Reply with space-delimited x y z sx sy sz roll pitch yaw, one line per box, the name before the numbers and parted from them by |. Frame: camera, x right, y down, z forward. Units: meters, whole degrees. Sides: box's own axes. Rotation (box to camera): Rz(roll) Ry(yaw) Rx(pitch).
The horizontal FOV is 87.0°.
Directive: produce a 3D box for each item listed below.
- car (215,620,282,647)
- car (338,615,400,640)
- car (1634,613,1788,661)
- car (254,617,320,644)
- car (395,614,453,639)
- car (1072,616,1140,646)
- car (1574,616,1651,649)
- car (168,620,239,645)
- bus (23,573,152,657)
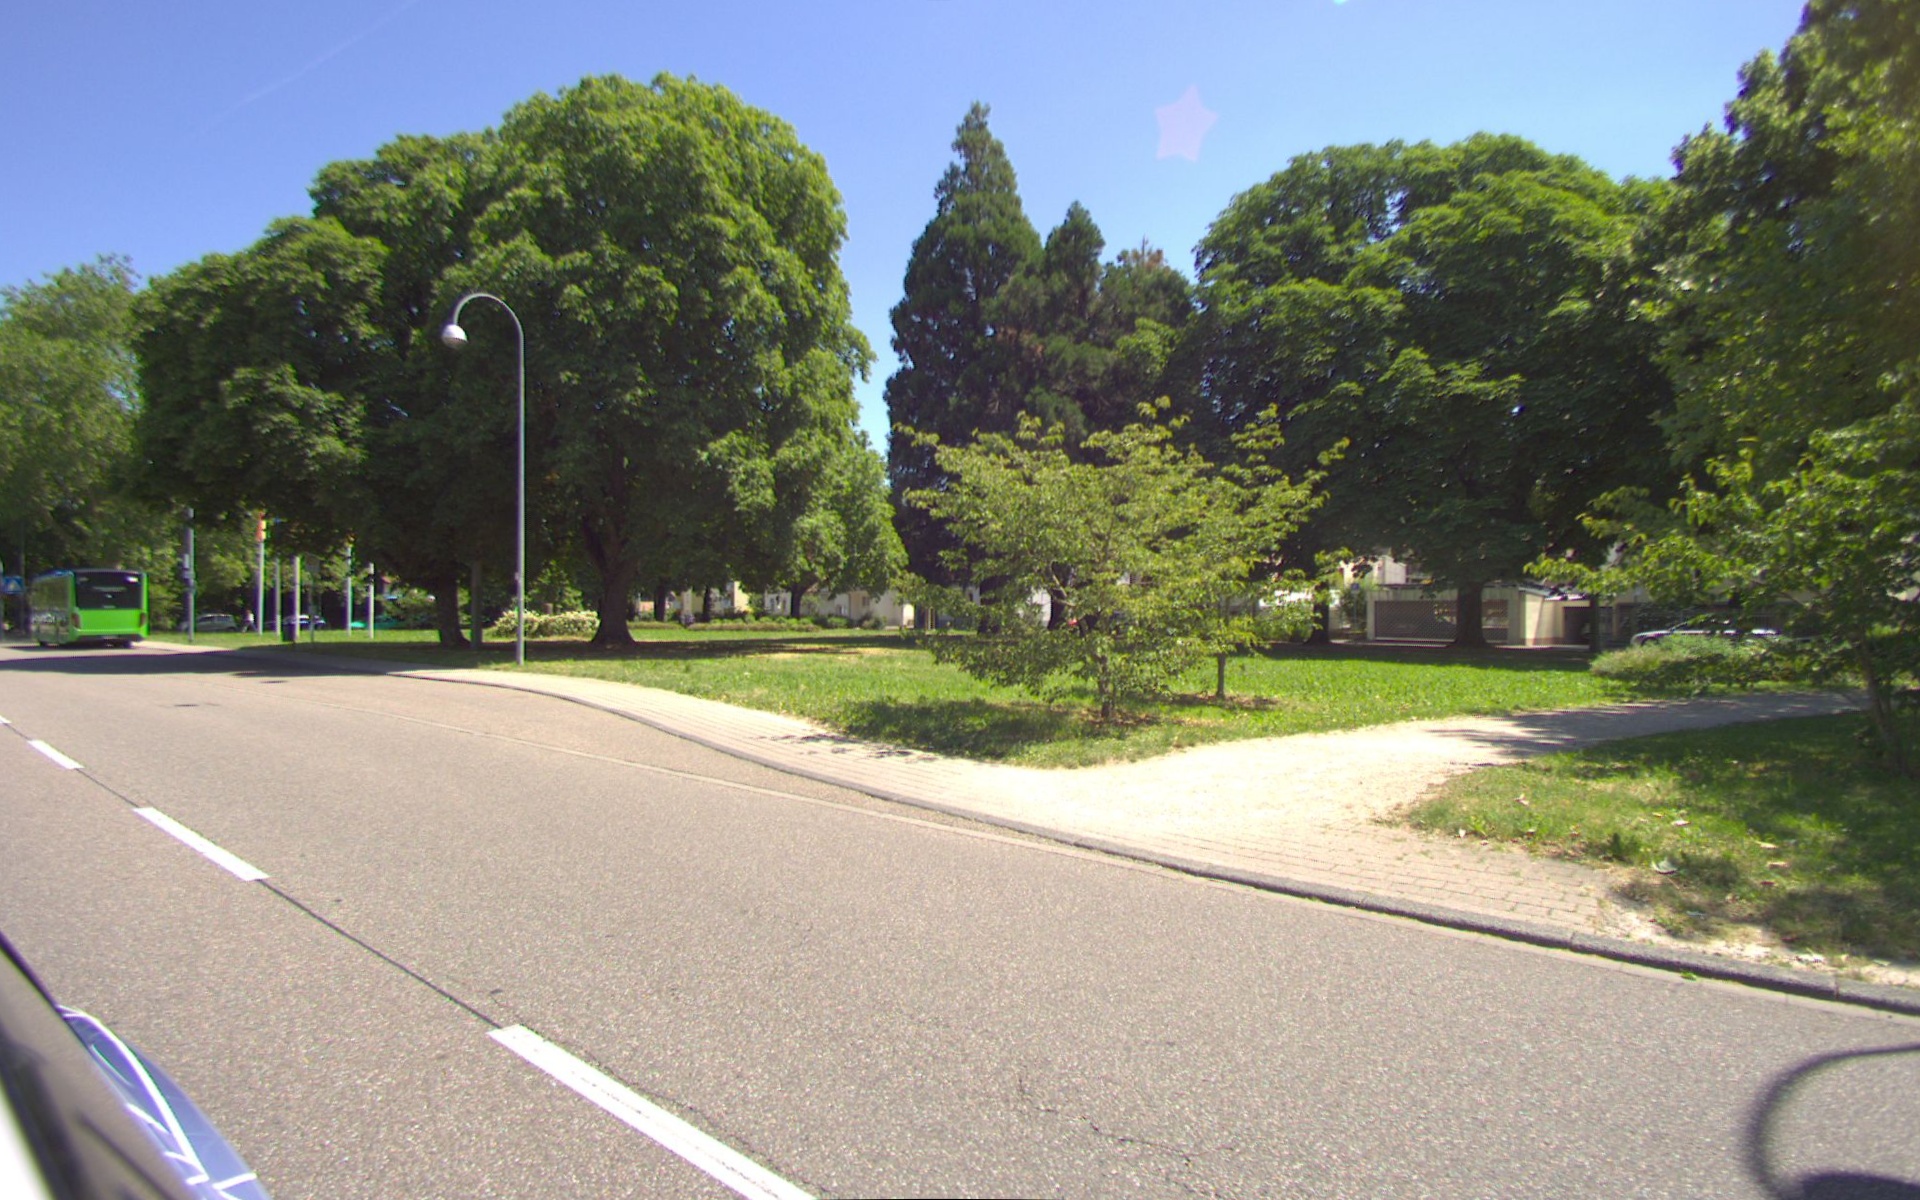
car | -56.567 2.645 80.530 3.934 2.029 2.005 0 -1 -12
car | -48.381 2.219 82.865 1.999 2.029 3.945 -1 -1 42
car | 29.819 1.428 40.317 1.967 1.792 4.517 0 -1 -35
car | -52.063 2.360 78.366 2.001 2.029 3.942 -1 -1 44
car | -45.627 2.214 86.175 1.999 2.029 3.945 -1 -1 42
car | 9.192 1.945 63.860 1.967 1.792 4.008 0 -1 -37
car | 32.908 1.606 51.006 3.935 1.597 2.004 0 -1 -37
car | -55.922 2.381 74.842 2.001 1.817 3.942 -1 -1 44
bus | -39.019 0.672 45.051 11.853 3.328 2.778 -1 -1 42
